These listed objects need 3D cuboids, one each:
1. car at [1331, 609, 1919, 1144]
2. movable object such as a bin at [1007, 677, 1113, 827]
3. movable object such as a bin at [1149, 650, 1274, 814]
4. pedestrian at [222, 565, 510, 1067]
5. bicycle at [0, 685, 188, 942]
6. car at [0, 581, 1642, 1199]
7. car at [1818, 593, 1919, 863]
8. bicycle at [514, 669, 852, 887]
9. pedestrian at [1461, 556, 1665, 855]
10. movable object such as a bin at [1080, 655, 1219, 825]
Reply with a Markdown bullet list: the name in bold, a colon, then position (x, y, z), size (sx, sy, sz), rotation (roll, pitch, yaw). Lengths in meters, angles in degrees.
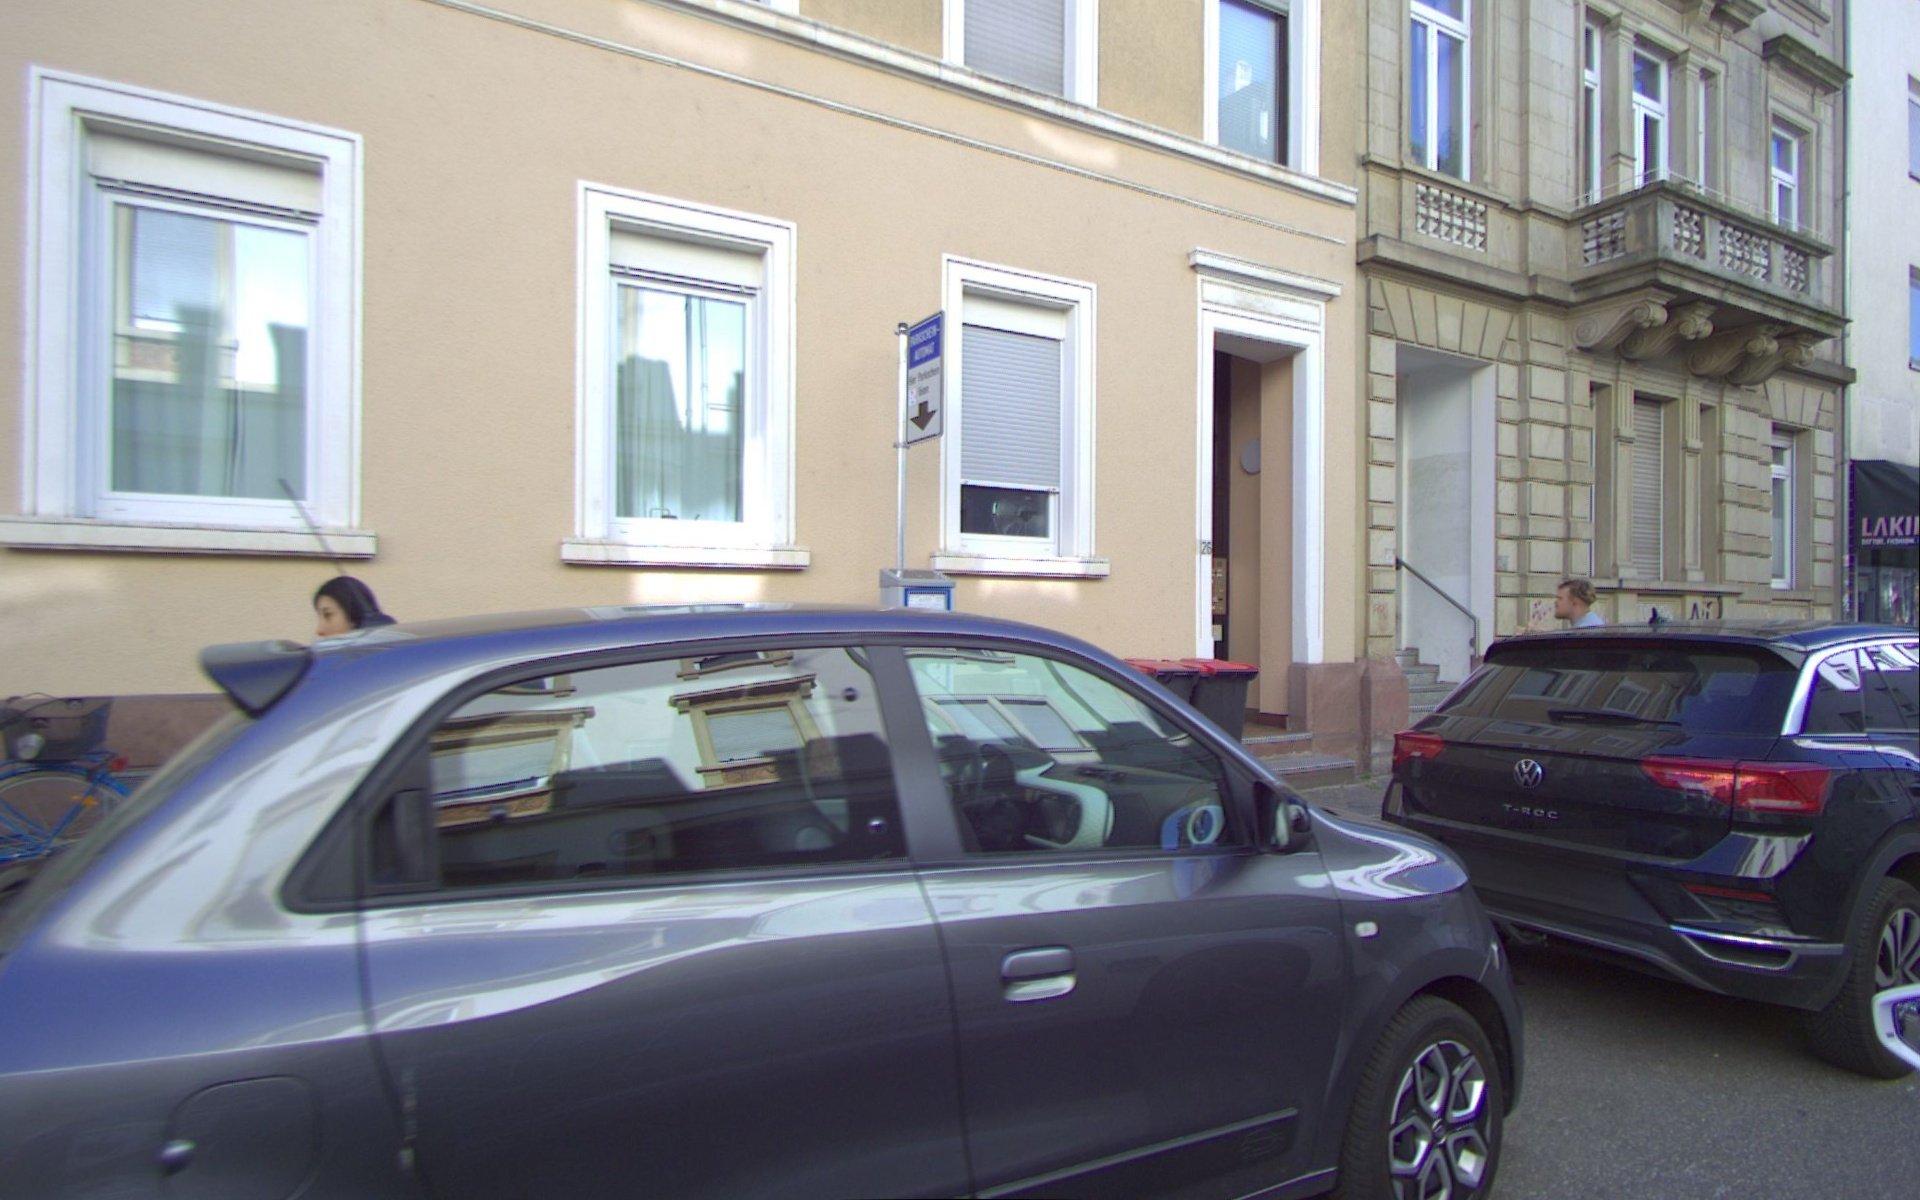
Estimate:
- **car**: position (3.946, 0.868, 4.704), size (4.311, 1.551, 1.707), rotation (1, -2, -28)
- **movable object such as a bin**: position (0.696, 1.037, 7.032), size (0.554, 0.950, 0.470), rotation (1, 1, -31)
- **movable object such as a bin**: position (1.897, 0.965, 7.617), size (0.578, 1.147, 0.715), rotation (2, -2, -32)
- **pedestrian**: position (-2.332, 0.755, 4.021), size (0.872, 1.737, 0.761), rotation (1, 0, -29)
- **bicycle**: position (-4.443, 0.887, 4.187), size (1.888, 1.042, 0.360), rotation (1, -1, -20)
- **car**: position (-0.208, 0.803, 2.490), size (3.930, 1.574, 1.608), rotation (1, -1, -30)
- **car**: position (8.682, 0.867, 7.407), size (5.079, 1.759, 1.928), rotation (1, -2, -29)
- **bicycle**: position (-1.530, 0.949, 5.753), size (1.816, 1.070, 0.400), rotation (2, -2, -32)
- **pedestrian**: position (4.085, 0.673, 6.834), size (0.872, 1.860, 0.863), rotation (2, -1, -27)
- **movable object such as a bin**: position (1.370, 0.979, 7.302), size (0.675, 1.103, 0.731), rotation (-1, 0, -32)
